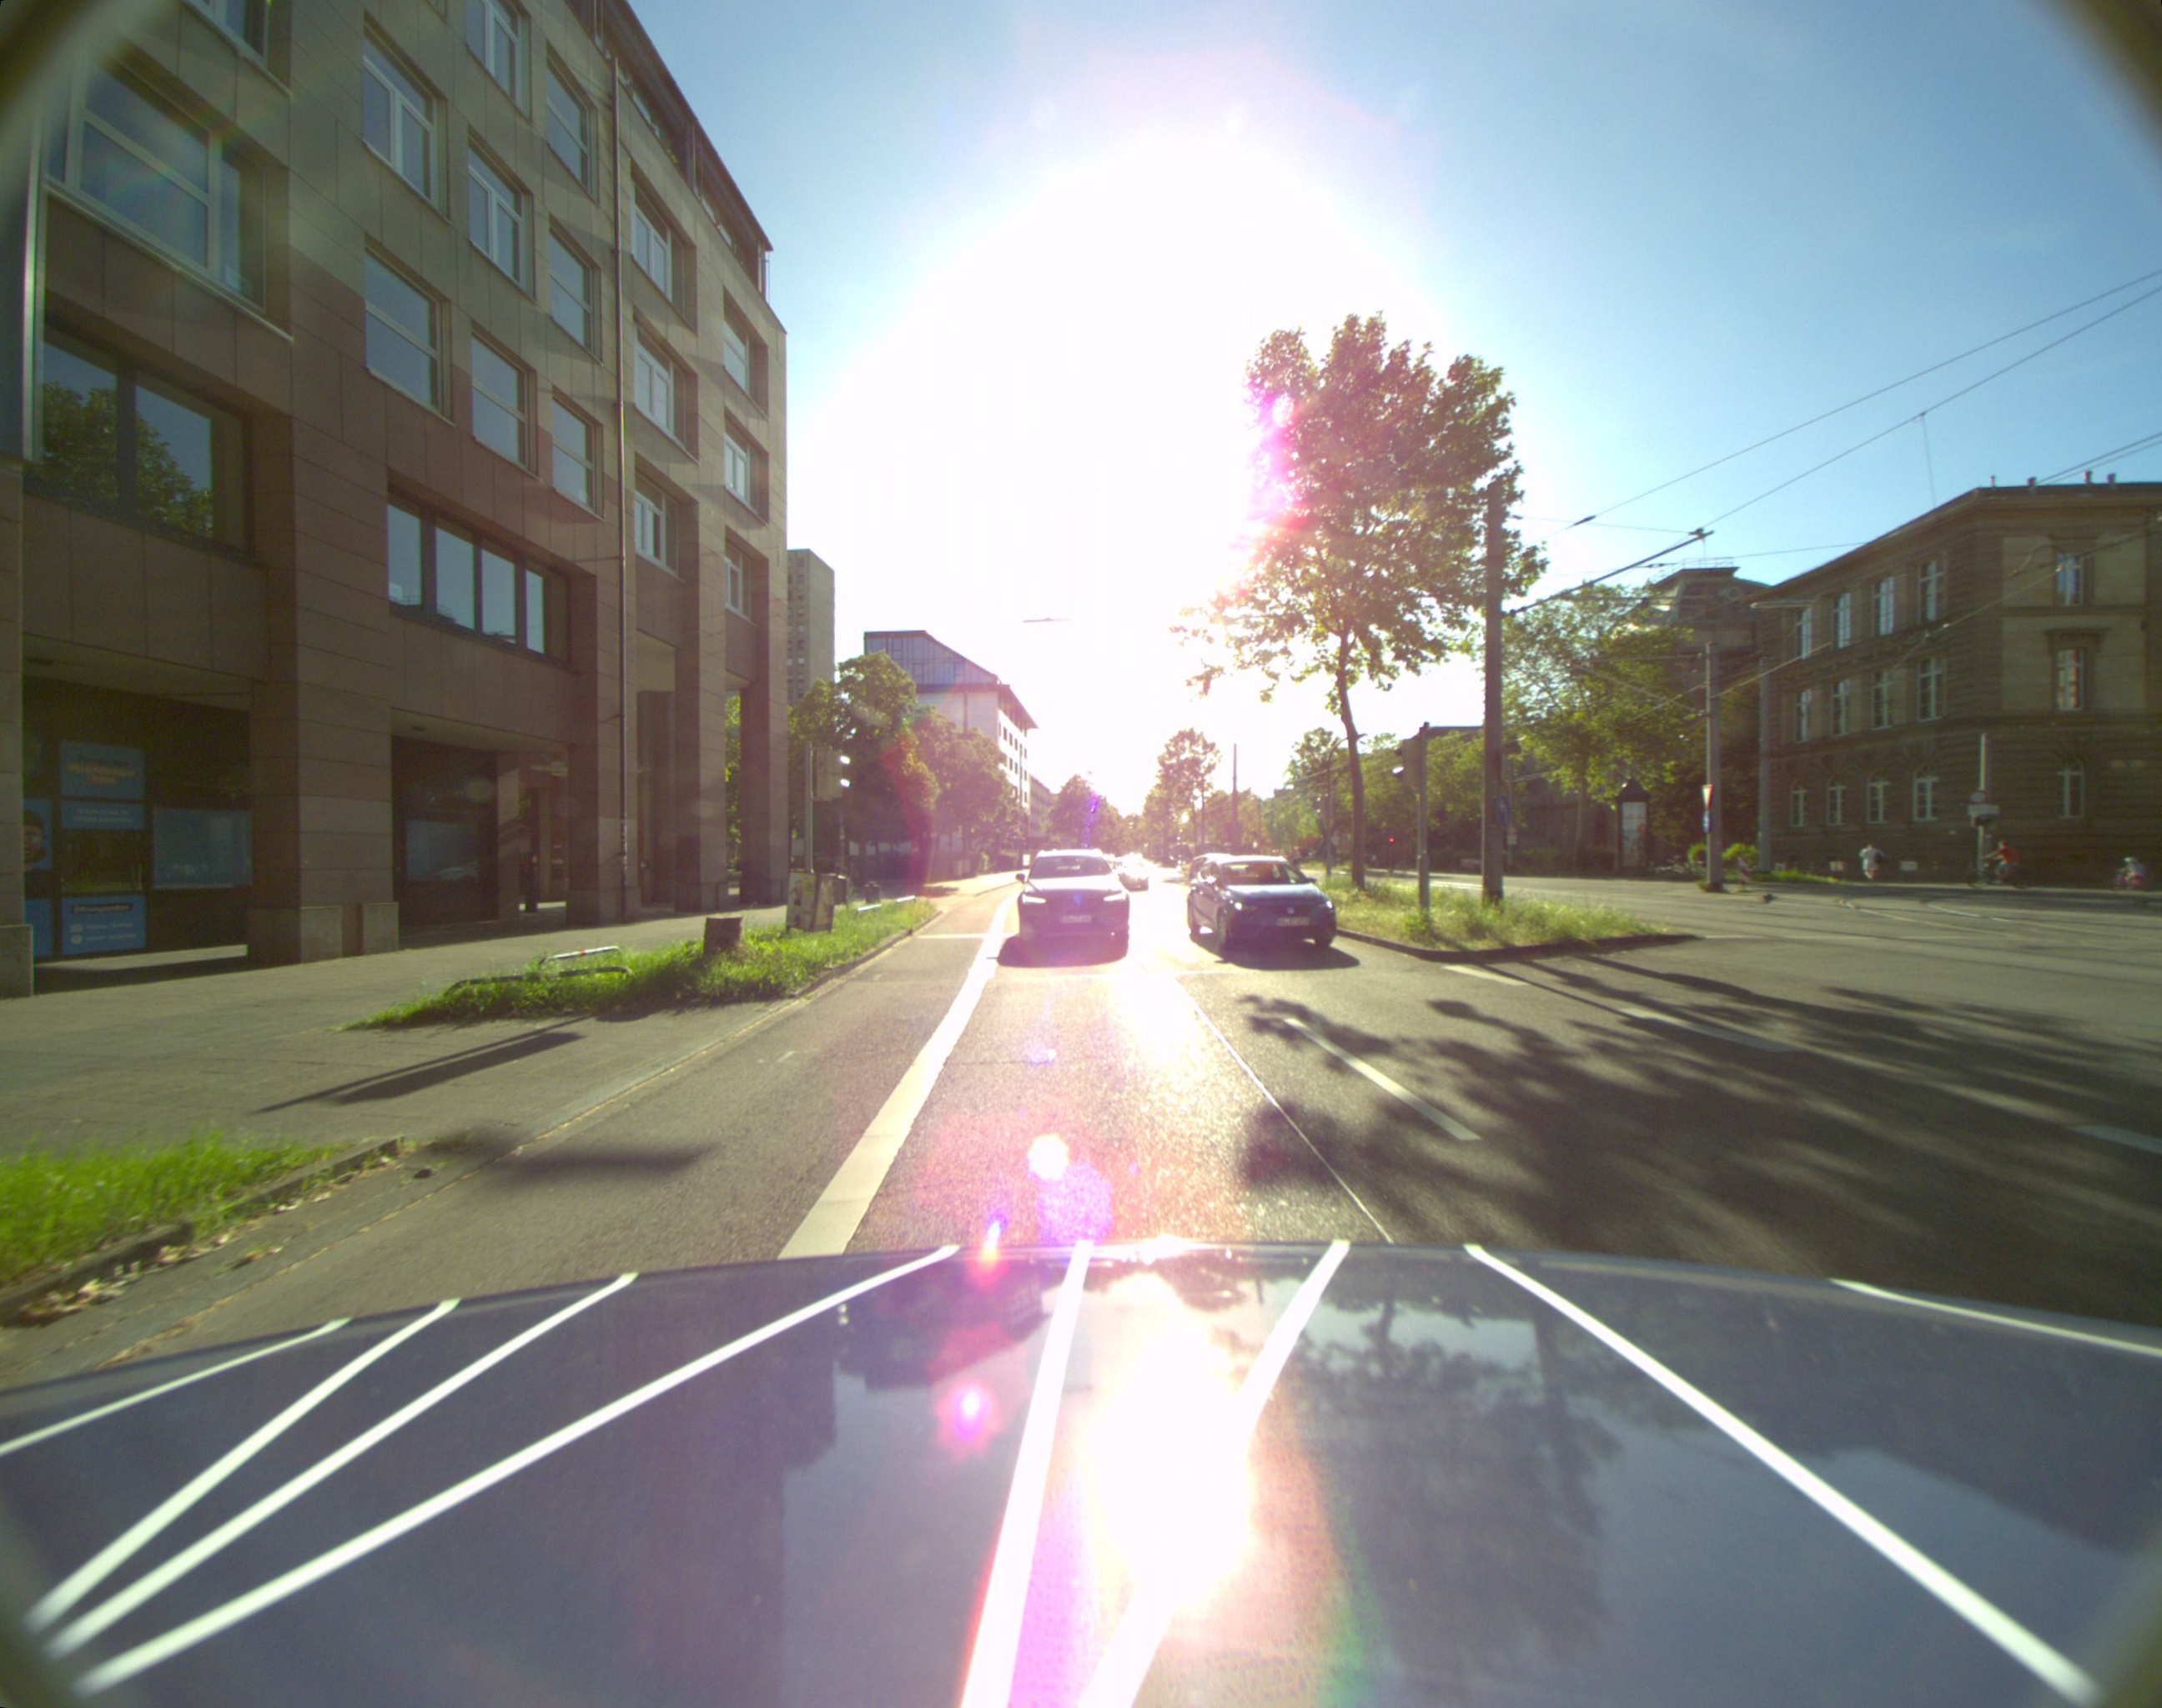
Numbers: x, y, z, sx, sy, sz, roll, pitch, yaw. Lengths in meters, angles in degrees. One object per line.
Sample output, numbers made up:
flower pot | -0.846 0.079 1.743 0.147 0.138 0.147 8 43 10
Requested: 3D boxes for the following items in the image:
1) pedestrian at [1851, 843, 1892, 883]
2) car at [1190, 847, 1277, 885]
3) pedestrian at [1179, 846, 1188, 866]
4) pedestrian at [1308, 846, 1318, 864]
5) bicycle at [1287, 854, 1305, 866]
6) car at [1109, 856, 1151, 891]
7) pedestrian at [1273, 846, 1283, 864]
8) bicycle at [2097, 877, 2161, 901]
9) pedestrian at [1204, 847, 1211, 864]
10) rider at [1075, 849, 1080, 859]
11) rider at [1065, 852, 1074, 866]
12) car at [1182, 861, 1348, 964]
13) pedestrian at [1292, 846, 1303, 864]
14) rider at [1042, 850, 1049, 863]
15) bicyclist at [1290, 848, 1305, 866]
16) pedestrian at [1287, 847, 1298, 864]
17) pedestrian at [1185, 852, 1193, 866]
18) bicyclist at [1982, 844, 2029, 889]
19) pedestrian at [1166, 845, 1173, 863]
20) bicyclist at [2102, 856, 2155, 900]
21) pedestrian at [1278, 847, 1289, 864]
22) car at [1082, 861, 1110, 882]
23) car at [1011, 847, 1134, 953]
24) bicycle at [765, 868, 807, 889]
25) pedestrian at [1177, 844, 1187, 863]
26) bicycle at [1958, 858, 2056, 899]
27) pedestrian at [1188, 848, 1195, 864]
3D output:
pedestrian | 36.424 0.408 35.023 0.864 1.790 1.002 -2 1 5
car | 6.898 0.532 34.756 1.670 1.586 3.854 -3 1 -32
pedestrian | 9.327 0.205 69.102 0.646 1.796 0.504 -2 1 -3
pedestrian | 21.762 0.090 71.278 0.595 1.612 0.698 -3 1 -29
bicycle | 19.836 0.565 70.112 1.666 1.036 0.543 -2 2 -27
car | 2.258 0.862 34.937 1.798 1.420 4.001 -2 0 4
pedestrian | 19.580 0.091 75.433 0.595 1.735 0.698 -3 1 -29
bicycle | 36.072 1.200 25.792 0.526 0.718 1.900 -2 0 -3
pedestrian | 12.299 0.172 73.778 0.544 1.652 0.730 -2 1 8
rider | -0.667 -0.016 136.995 0.759 1.717 0.895 -2 1 2
rider | -1.381 0.556 93.422 0.924 1.668 0.977 -2 1 5
car | 2.942 0.870 13.020 1.778 1.439 3.868 -1 0 -2
pedestrian | 20.899 0.061 73.274 0.595 1.726 0.698 -3 1 -29
rider | -4.250 0.308 90.698 0.778 1.582 0.790 0 1 0
bicyclist | 19.915 0.279 69.860 0.970 1.634 0.833 -3 1 -29
pedestrian | 20.143 0.160 72.352 0.595 1.634 0.698 -3 1 -32
pedestrian | 9.691 0.470 68.443 0.594 1.226 0.425 -2 1 -6
bicyclist | 34.149 0.470 28.086 0.676 1.614 0.870 -1 0 -9
pedestrian | 10.290 -0.005 87.920 0.711 2.002 0.787 -2 1 5
bicyclist | 36.064 0.825 26.168 0.797 1.453 0.730 -2 1 -2
pedestrian | 19.721 0.173 74.041 0.595 1.666 0.698 -3 1 -29
car | 1.311 1.450 63.669 1.774 1.567 3.825 -2 0 9
car | -0.019 0.739 14.867 1.948 1.690 5.307 -1 0 3
bicycle | -13.200 1.093 33.999 1.679 0.857 0.320 -2 1 -25
pedestrian | 11.314 -0.046 85.237 0.785 2.175 0.801 -2 1 24
bicycle | 34.186 0.867 28.110 0.526 1.381 2.349 -2 1 -8
pedestrian | 11.583 0.216 79.491 0.580 1.652 0.667 -2 1 12
